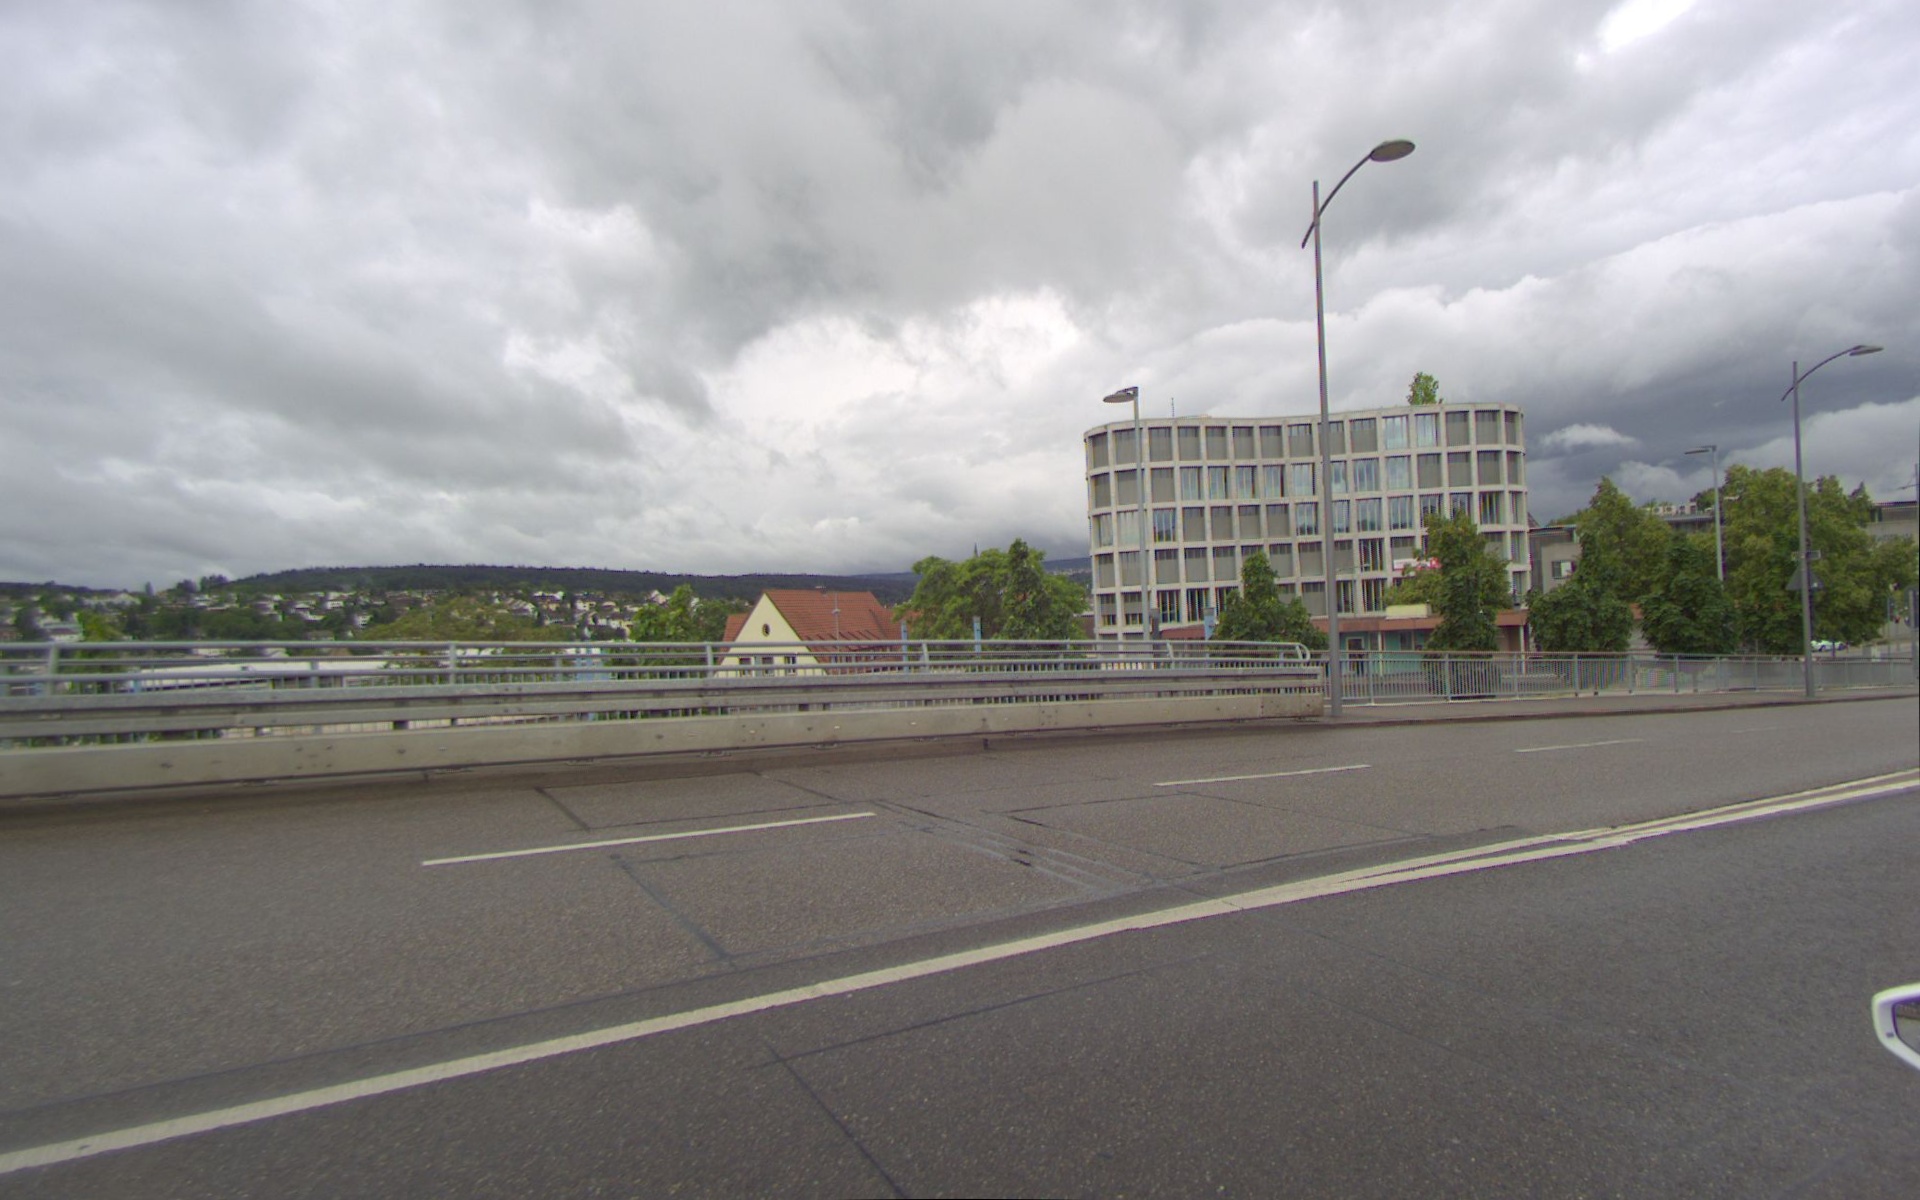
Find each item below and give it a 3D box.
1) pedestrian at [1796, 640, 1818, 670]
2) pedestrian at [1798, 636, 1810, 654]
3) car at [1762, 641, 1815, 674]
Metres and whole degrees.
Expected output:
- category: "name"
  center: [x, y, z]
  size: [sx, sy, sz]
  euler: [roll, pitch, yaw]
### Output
- category: "pedestrian"
  center: [42.042, 2.730, 49.879]
  size: [0.524, 1.427, 0.646]
  euler: [-2, -1, -27]
- category: "pedestrian"
  center: [41.950, 2.229, 49.925]
  size: [0.294, 0.885, 0.300]
  euler: [-2, -1, -27]
- category: "car"
  center: [62.634, 4.304, 75.988]
  size: [1.962, 2.041, 3.997]
  euler: [3, 2, 24]
